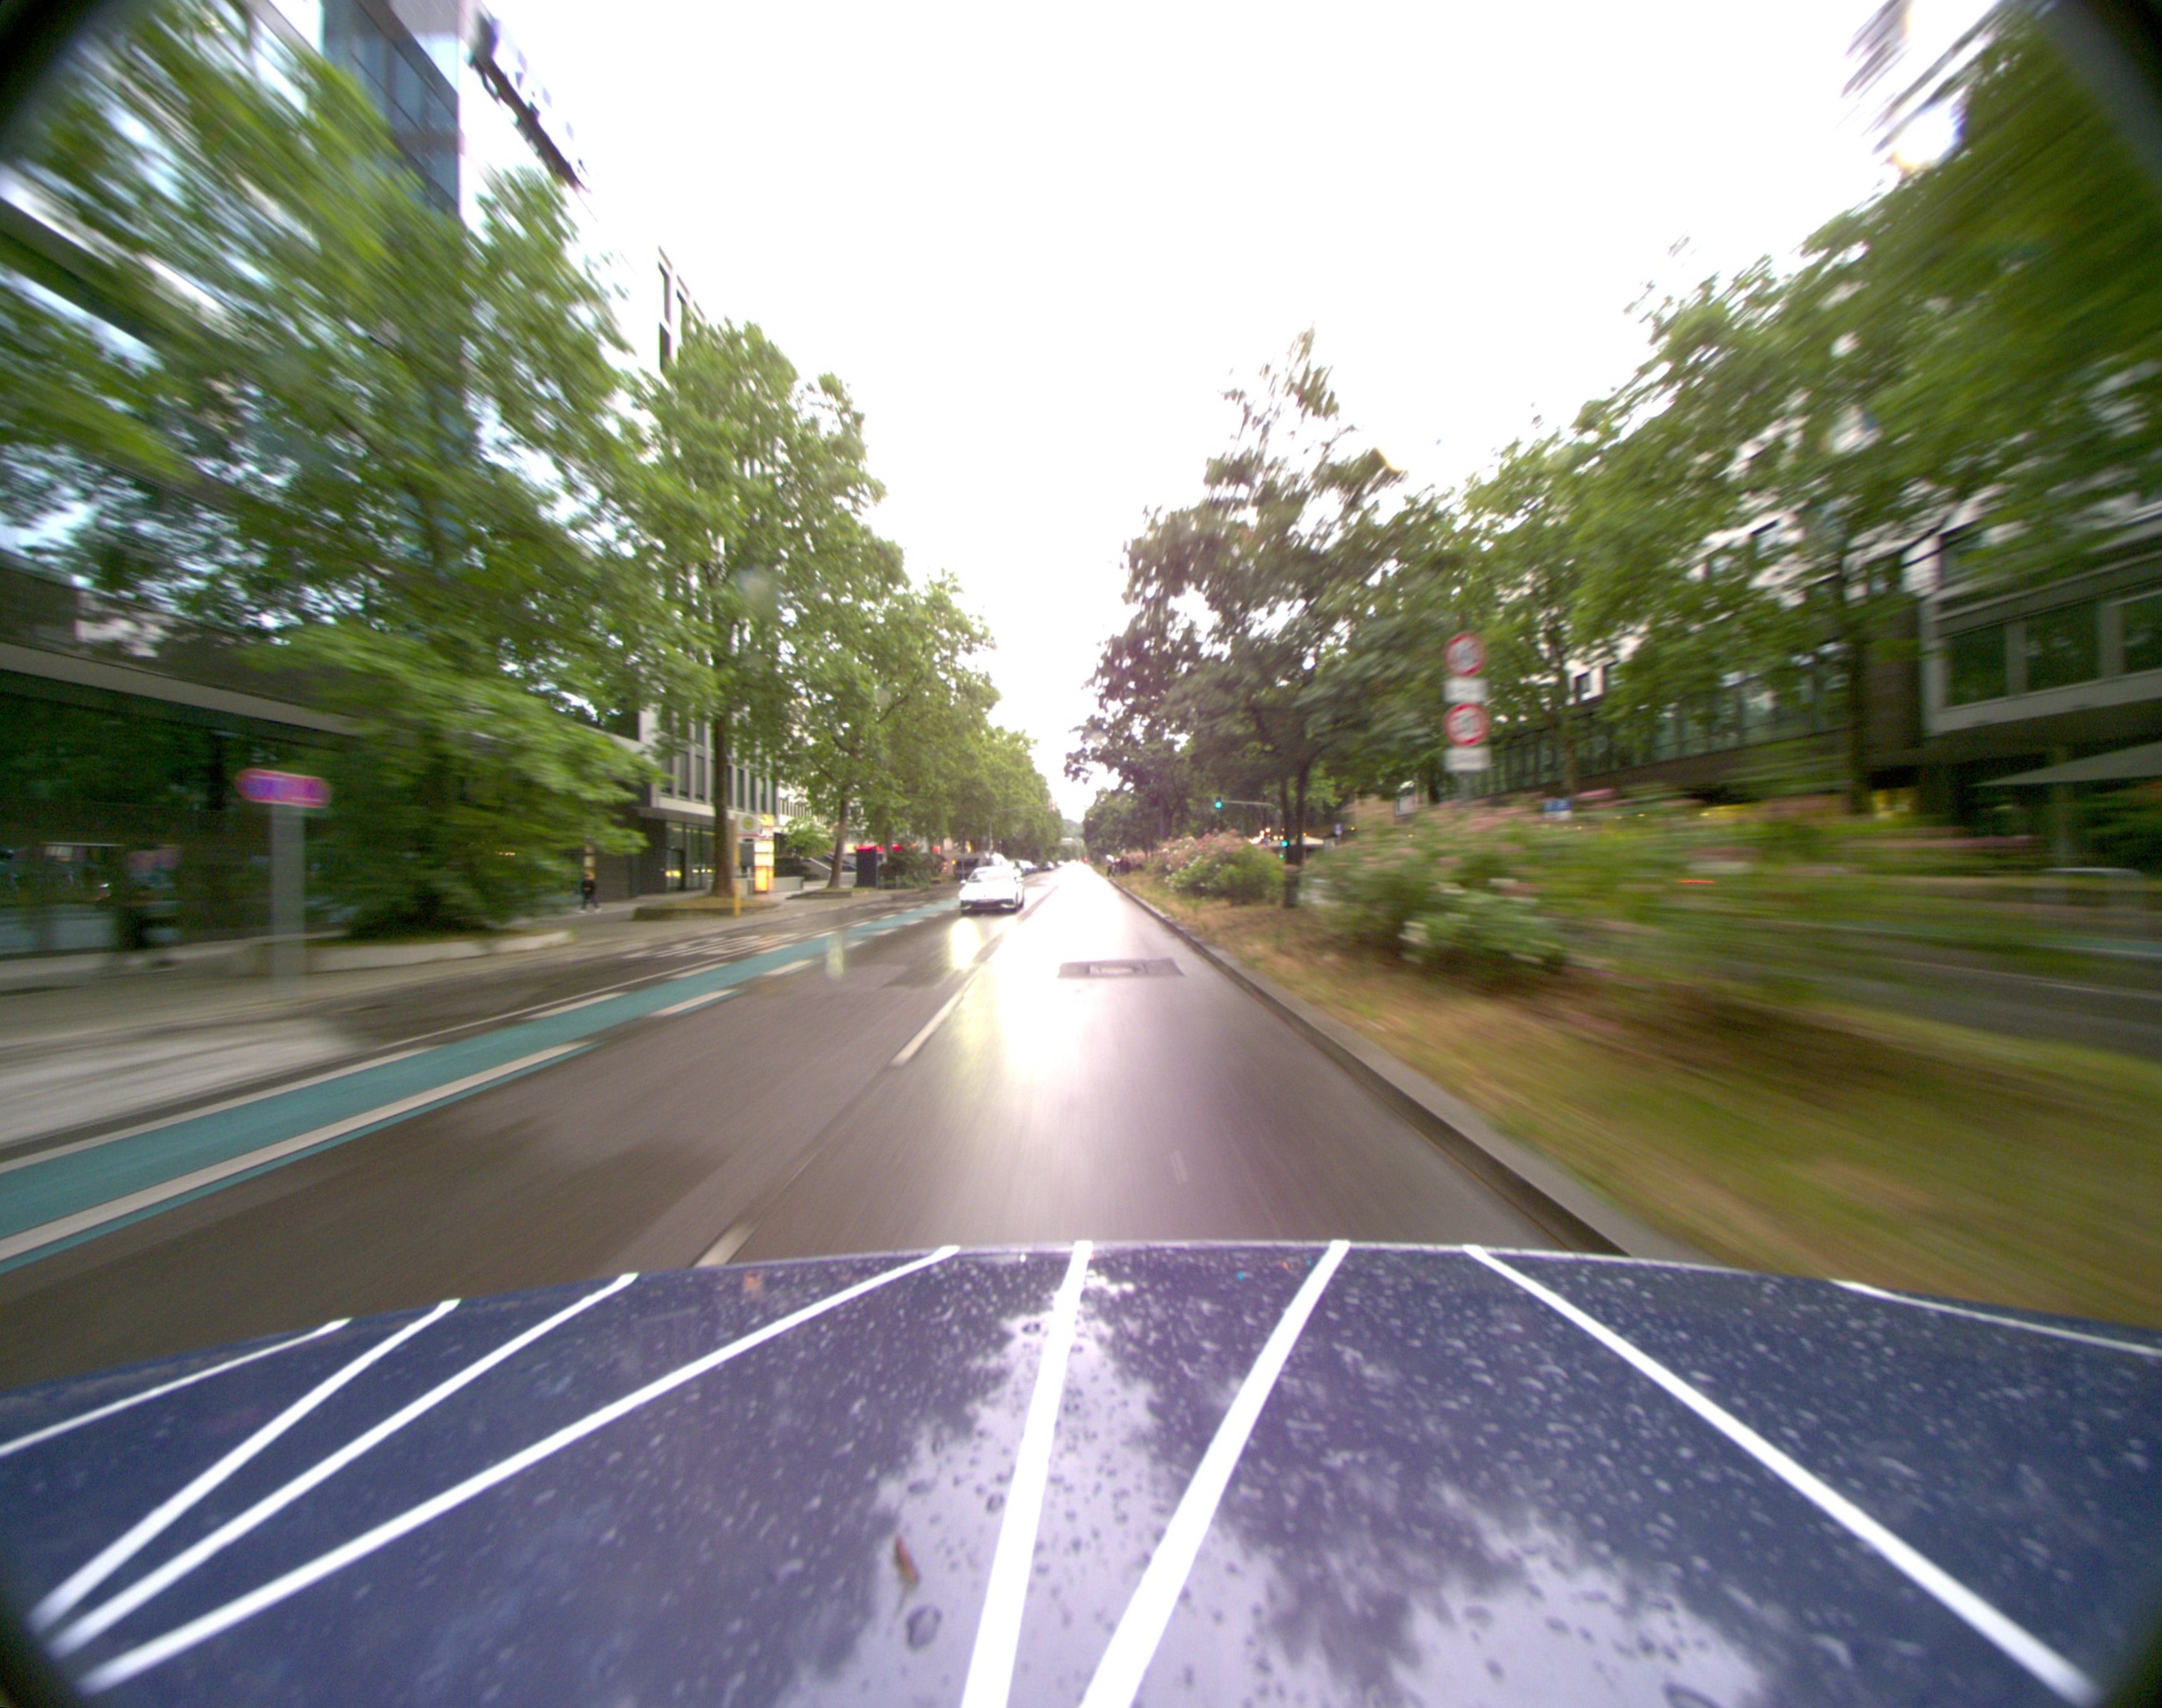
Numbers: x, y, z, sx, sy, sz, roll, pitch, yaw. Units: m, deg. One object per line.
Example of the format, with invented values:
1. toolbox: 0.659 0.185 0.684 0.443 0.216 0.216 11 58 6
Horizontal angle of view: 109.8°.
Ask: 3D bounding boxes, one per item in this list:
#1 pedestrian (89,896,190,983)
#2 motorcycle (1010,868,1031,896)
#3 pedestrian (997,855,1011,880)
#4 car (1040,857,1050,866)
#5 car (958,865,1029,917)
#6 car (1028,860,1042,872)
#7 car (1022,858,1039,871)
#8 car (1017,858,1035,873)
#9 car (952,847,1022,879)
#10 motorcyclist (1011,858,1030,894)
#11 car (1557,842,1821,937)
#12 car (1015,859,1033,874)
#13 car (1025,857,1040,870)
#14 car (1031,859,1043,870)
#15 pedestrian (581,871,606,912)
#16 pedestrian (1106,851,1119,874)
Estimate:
1. pedestrian: -17.369 1.553 14.040 0.588 1.496 1.005 -1 0 1
2. motorcycle: -2.749 1.261 34.850 0.744 1.194 2.235 -2 1 0
3. pedestrian: -5.877 1.048 57.965 0.891 1.838 0.721 -2 1 7
4. car: -6.312 1.308 134.631 1.598 1.516 3.425 -2 0 0
5. car: -2.823 1.152 25.162 1.795 1.463 3.794 -2 0 1
6. car: -6.107 1.541 102.035 1.598 1.516 3.425 -2 0 0
7. car: -5.821 1.216 88.075 1.598 1.506 3.425 -2 0 0
8. car: -6.026 1.256 83.433 1.598 1.516 3.425 -2 0 0
9. car: -8.572 0.857 69.056 6.268 2.664 2.326 -2 1 36
10. motorcyclist: -2.759 1.008 34.694 0.744 1.575 1.059 -2 1 0
11. car: 10.839 0.567 13.980 1.642 1.456 4.035 -2 0 1
12. car: -5.921 1.273 79.056 1.598 1.516 3.425 -2 0 0
13. car: -5.912 1.156 92.761 1.598 1.516 3.425 -2 0 0
14. car: -6.375 1.549 110.169 1.598 1.516 3.425 -2 0 0
15. pedestrian: -19.754 1.526 30.783 0.527 1.616 0.719 1 2 0
16. pedestrian: 2.615 0.710 62.550 0.892 1.838 0.787 -2 1 -7
